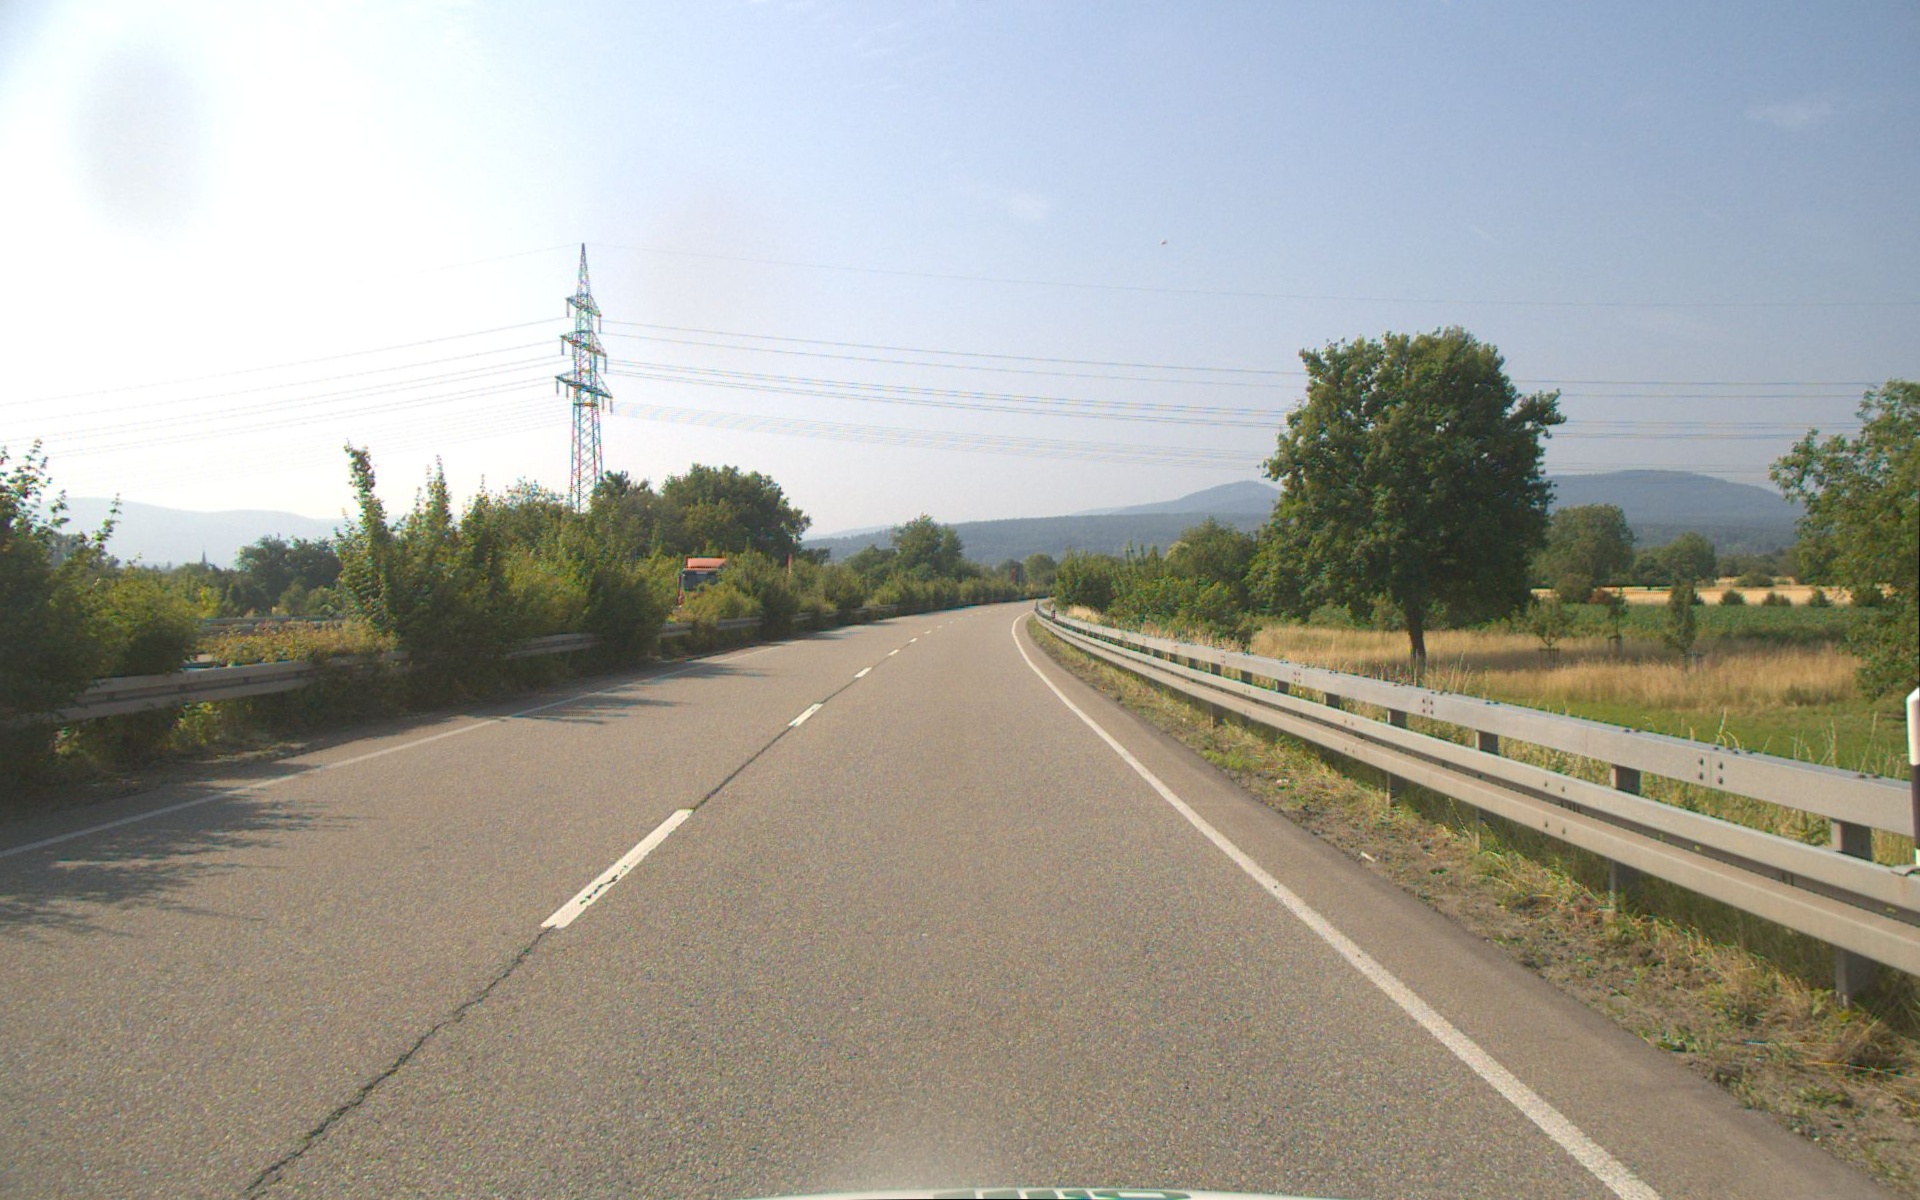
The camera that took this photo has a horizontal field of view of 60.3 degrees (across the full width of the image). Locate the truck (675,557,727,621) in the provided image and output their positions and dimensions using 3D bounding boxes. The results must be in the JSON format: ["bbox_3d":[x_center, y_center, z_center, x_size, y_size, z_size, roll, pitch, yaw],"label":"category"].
[{"bbox_3d":[-14.261,-0.607,91.292,1.953,3.435,5.628,0,0,0],"label":"truck"}]
